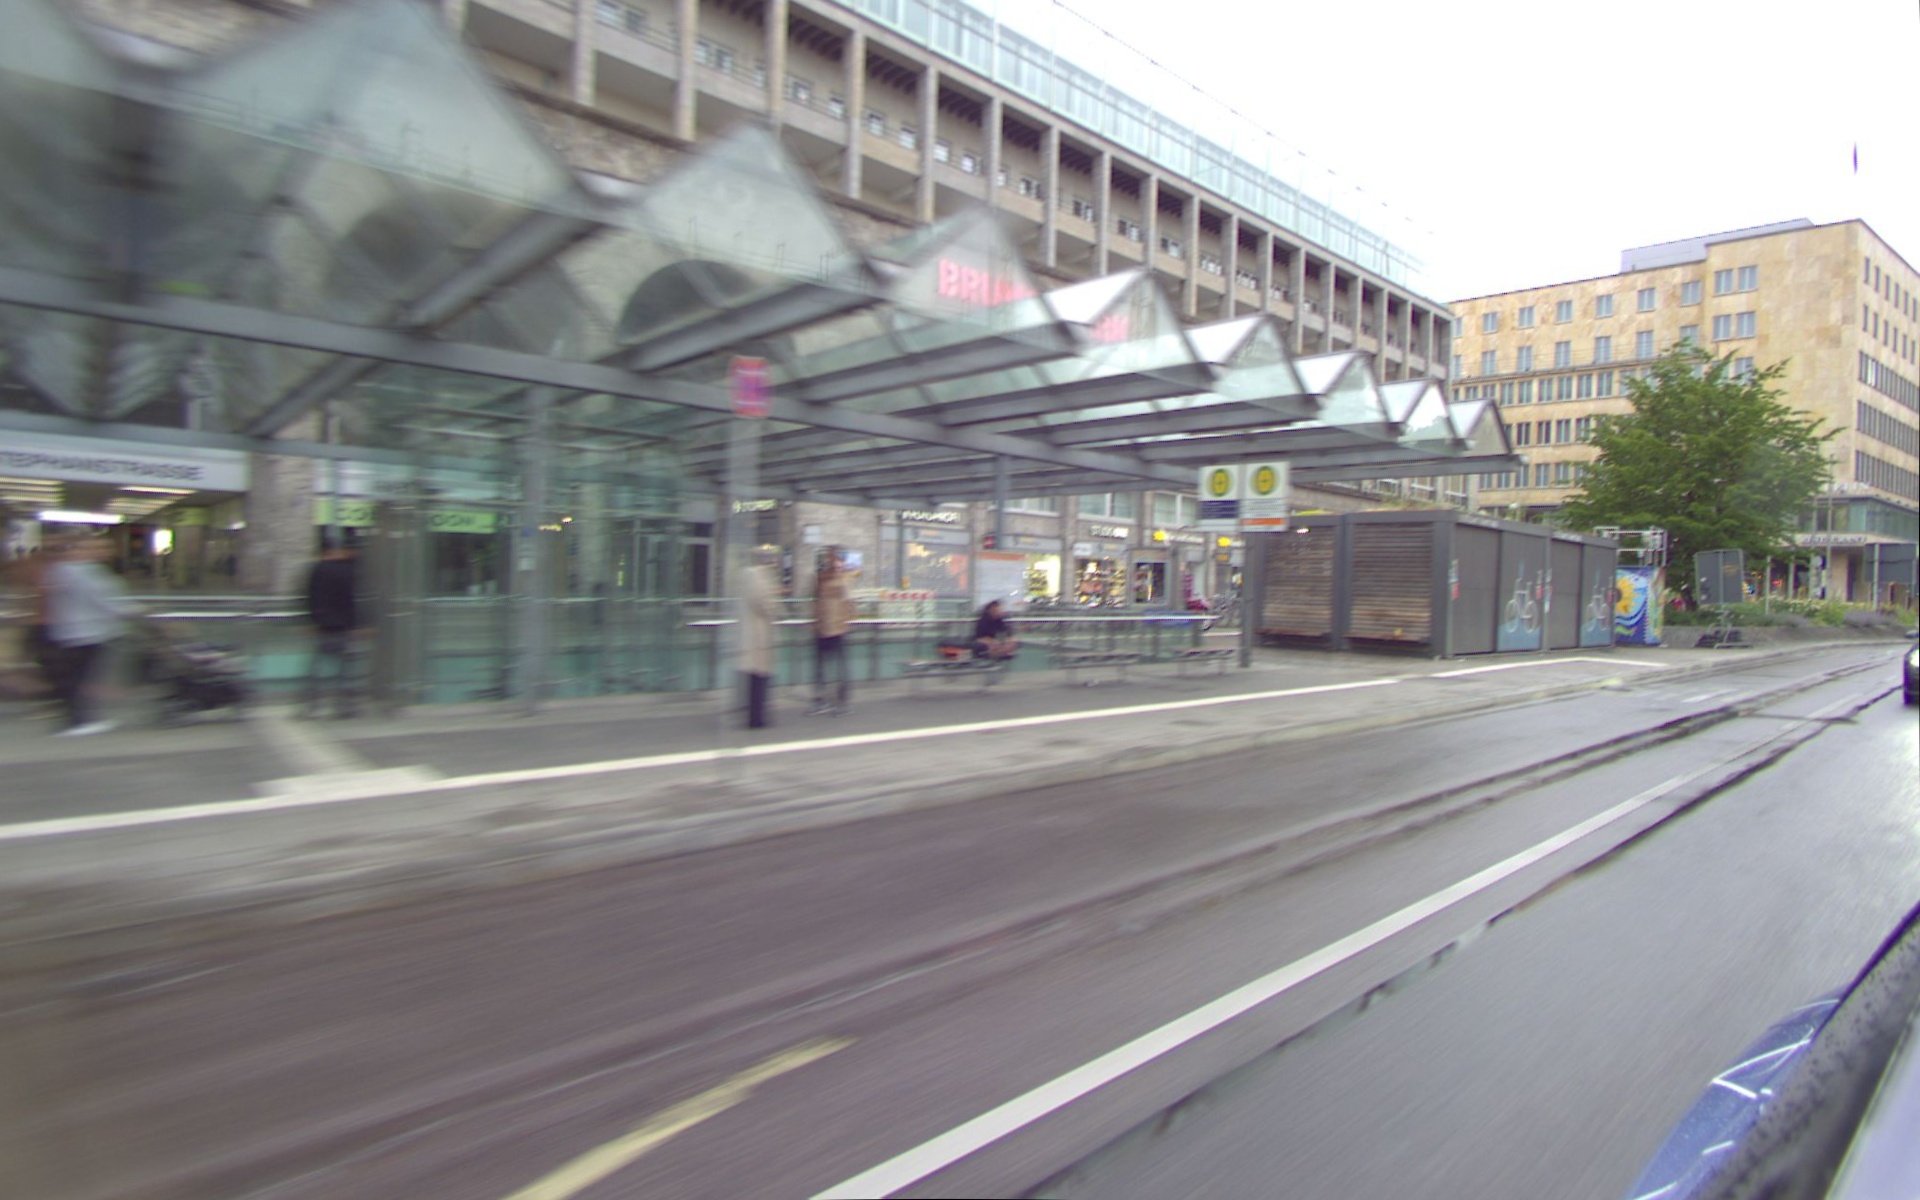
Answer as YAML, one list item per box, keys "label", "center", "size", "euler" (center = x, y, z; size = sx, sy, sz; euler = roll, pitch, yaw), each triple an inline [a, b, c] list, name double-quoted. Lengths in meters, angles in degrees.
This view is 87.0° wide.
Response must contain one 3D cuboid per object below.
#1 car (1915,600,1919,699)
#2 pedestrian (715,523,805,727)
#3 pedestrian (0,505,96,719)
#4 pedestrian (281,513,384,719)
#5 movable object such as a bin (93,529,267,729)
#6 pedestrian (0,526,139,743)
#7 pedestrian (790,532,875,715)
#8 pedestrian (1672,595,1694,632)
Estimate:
- label: "car"
  center: [16.631, 0.744, 16.009]
  size: [4.618, 1.482, 1.821]
  euler: [0, 0, -41]
- label: "pedestrian"
  center: [-1.916, 0.222, 9.695]
  size: [0.564, 1.859, 0.677]
  euler: [1, 1, -40]
- label: "pedestrian"
  center: [-8.489, 0.093, 9.308]
  size: [0.750, 1.871, 0.749]
  euler: [1, 1, 44]
- label: "pedestrian"
  center: [-5.958, 0.137, 9.655]
  size: [0.746, 1.859, 0.754]
  euler: [1, 0, -27]
- label: "movable object such as a bin"
  center: [-6.956, 0.229, 9.059]
  size: [0.658, 1.673, 1.040]
  euler: [1, 1, 24]
- label: "pedestrian"
  center: [-7.335, 0.254, 8.287]
  size: [0.753, 1.675, 0.674]
  euler: [1, 0, 24]
- label: "pedestrian"
  center: [-1.349, 0.230, 10.727]
  size: [0.630, 1.859, 0.629]
  euler: [1, 1, -40]
- label: "pedestrian"
  center: [35.592, 0.642, 49.830]
  size: [0.823, 1.773, 0.698]
  euler: [1, 1, -44]
